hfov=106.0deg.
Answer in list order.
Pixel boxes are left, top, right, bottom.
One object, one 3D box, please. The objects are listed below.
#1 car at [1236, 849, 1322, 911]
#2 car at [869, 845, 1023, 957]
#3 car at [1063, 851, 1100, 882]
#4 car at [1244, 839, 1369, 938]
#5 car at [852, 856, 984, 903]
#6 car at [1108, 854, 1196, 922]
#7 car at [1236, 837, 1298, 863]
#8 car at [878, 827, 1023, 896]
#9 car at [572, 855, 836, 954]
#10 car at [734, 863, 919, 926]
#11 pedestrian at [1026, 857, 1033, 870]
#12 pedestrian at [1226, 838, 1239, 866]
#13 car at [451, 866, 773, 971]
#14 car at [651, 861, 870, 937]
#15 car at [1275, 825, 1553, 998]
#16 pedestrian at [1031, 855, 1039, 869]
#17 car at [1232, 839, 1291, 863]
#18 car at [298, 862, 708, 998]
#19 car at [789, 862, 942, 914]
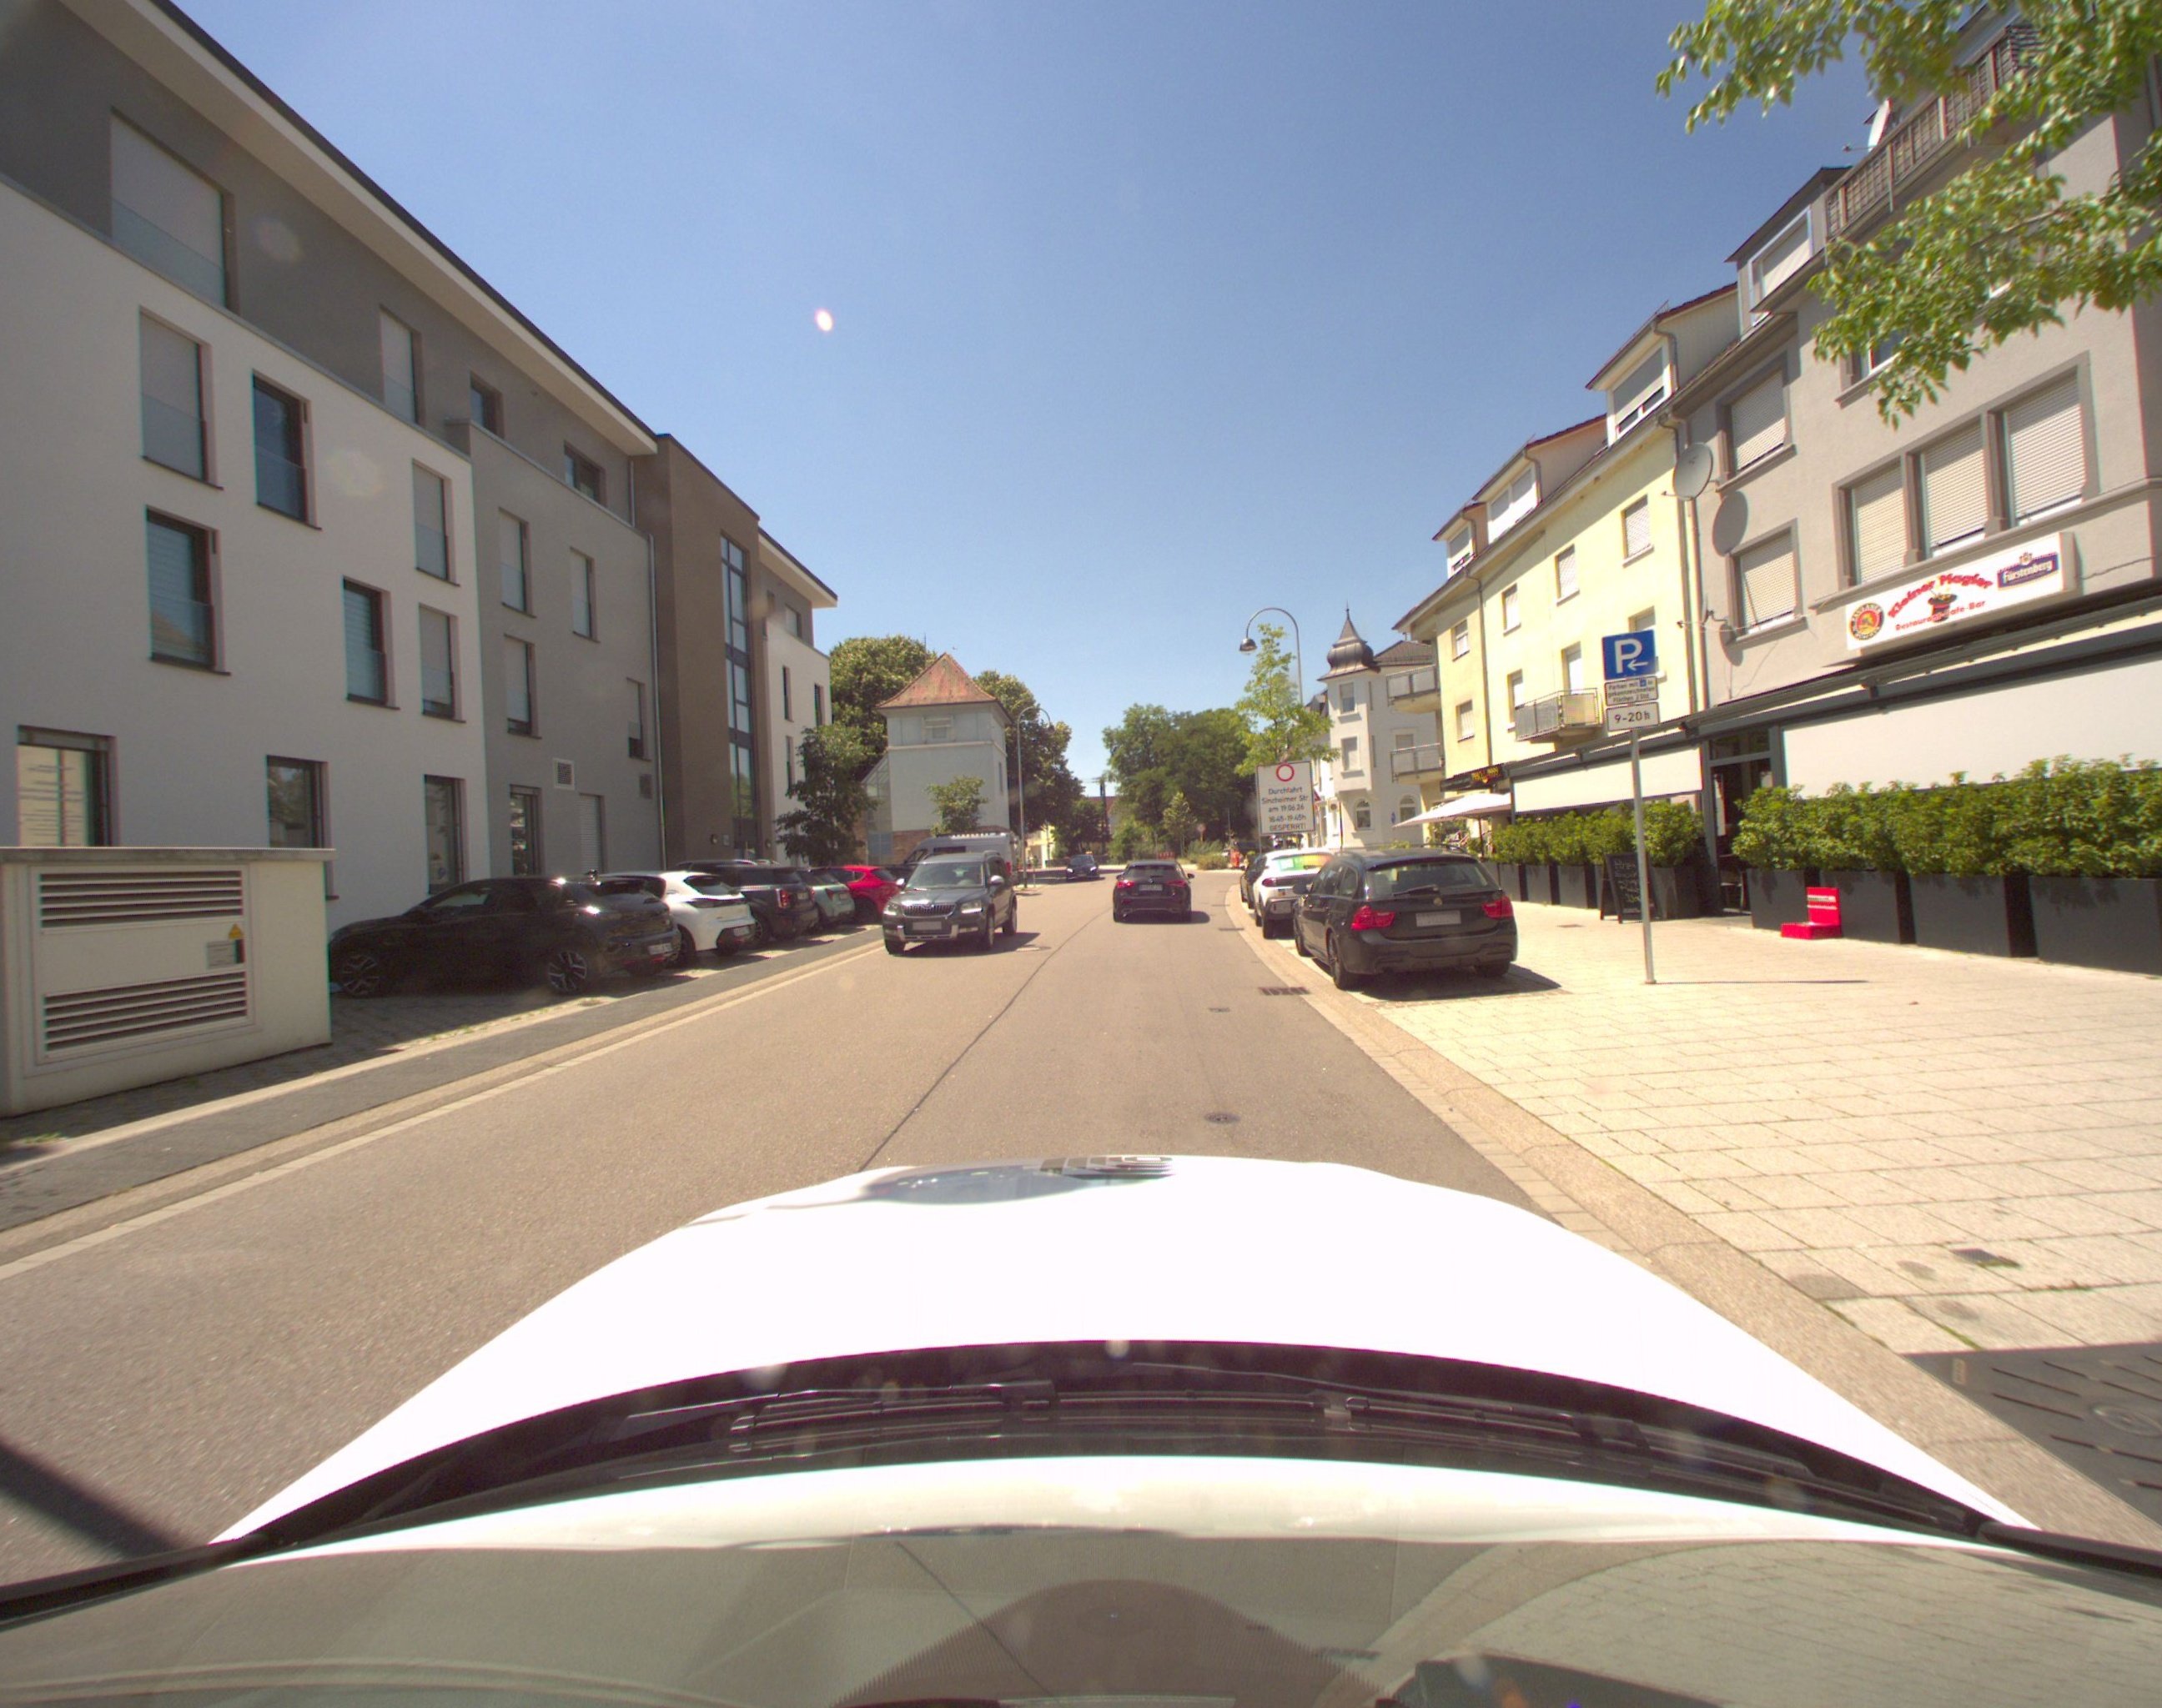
[{"bbox_3d":[5.269,0.650,22.213,1.715,1.405,4.619,-4,-1,8],"label":"car"},{"bbox_3d":[-2.277,0.755,14.866,1.802,1.701,4.080,-2,-1,4],"label":"car"},{"bbox_3d":[0.086,0.663,47.113,1.886,1.553,4.801,-3,1,2],"label":"car"},{"bbox_3d":[4.124,0.580,15.483,1.727,1.486,4.064,-5,-1,9],"label":"car"},{"bbox_3d":[-6.044,0.942,30.550,4.435,1.591,2.002,-2,-1,3],"label":"car"},{"bbox_3d":[1.841,0.799,19.928,1.817,1.442,4.009,-2,-2,9],"label":"car"},{"bbox_3d":[13.535,-0.279,59.462,4.060,1.716,1.857,-2,-1,1],"label":"car"},{"bbox_3d":[-5.574,0.339,35.386,5.741,2.732,2.294,-2,-1,4],"label":"car"},{"bbox_3d":[-6.991,0.906,15.384,4.012,1.651,2.003,-2,-1,5],"label":"car"},{"bbox_3d":[-6.446,1.014,20.896,4.012,1.430,2.003,-2,-1,5],"label":"car"},{"bbox_3d":[-6.654,1.271,105.586,0.617,1.612,0.830,-3,-1,-27],"label":"pedestrian"},{"bbox_3d":[9.943,-0.143,53.330,0.741,1.796,0.846,-3,1,11],"label":"pedestrian"},{"bbox_3d":[-7.250,0.966,12.871,3.969,1.421,1.912,-2,-1,4],"label":"car"},{"bbox_3d":[-7.062,0.967,18.207,4.012,1.497,2.003,-2,-1,5],"label":"car"},{"bbox_3d":[3.625,0.583,9.749,1.824,1.482,4.101,-5,-1,5],"label":"car"},{"bbox_3d":[-5.865,1.011,104.805,0.666,1.741,0.694,-2,-1,-40],"label":"pedestrian"},{"bbox_3d":[13.571,-0.224,61.423,4.060,1.716,1.857,-2,-1,1],"label":"car"},{"bbox_3d":[-7.385,0.928,10.701,3.968,1.515,2.003,-2,0,4],"label":"car"},{"bbox_3d":[-6.617,1.013,25.342,4.187,1.437,1.885,-2,-1,-1],"label":"car"}]
